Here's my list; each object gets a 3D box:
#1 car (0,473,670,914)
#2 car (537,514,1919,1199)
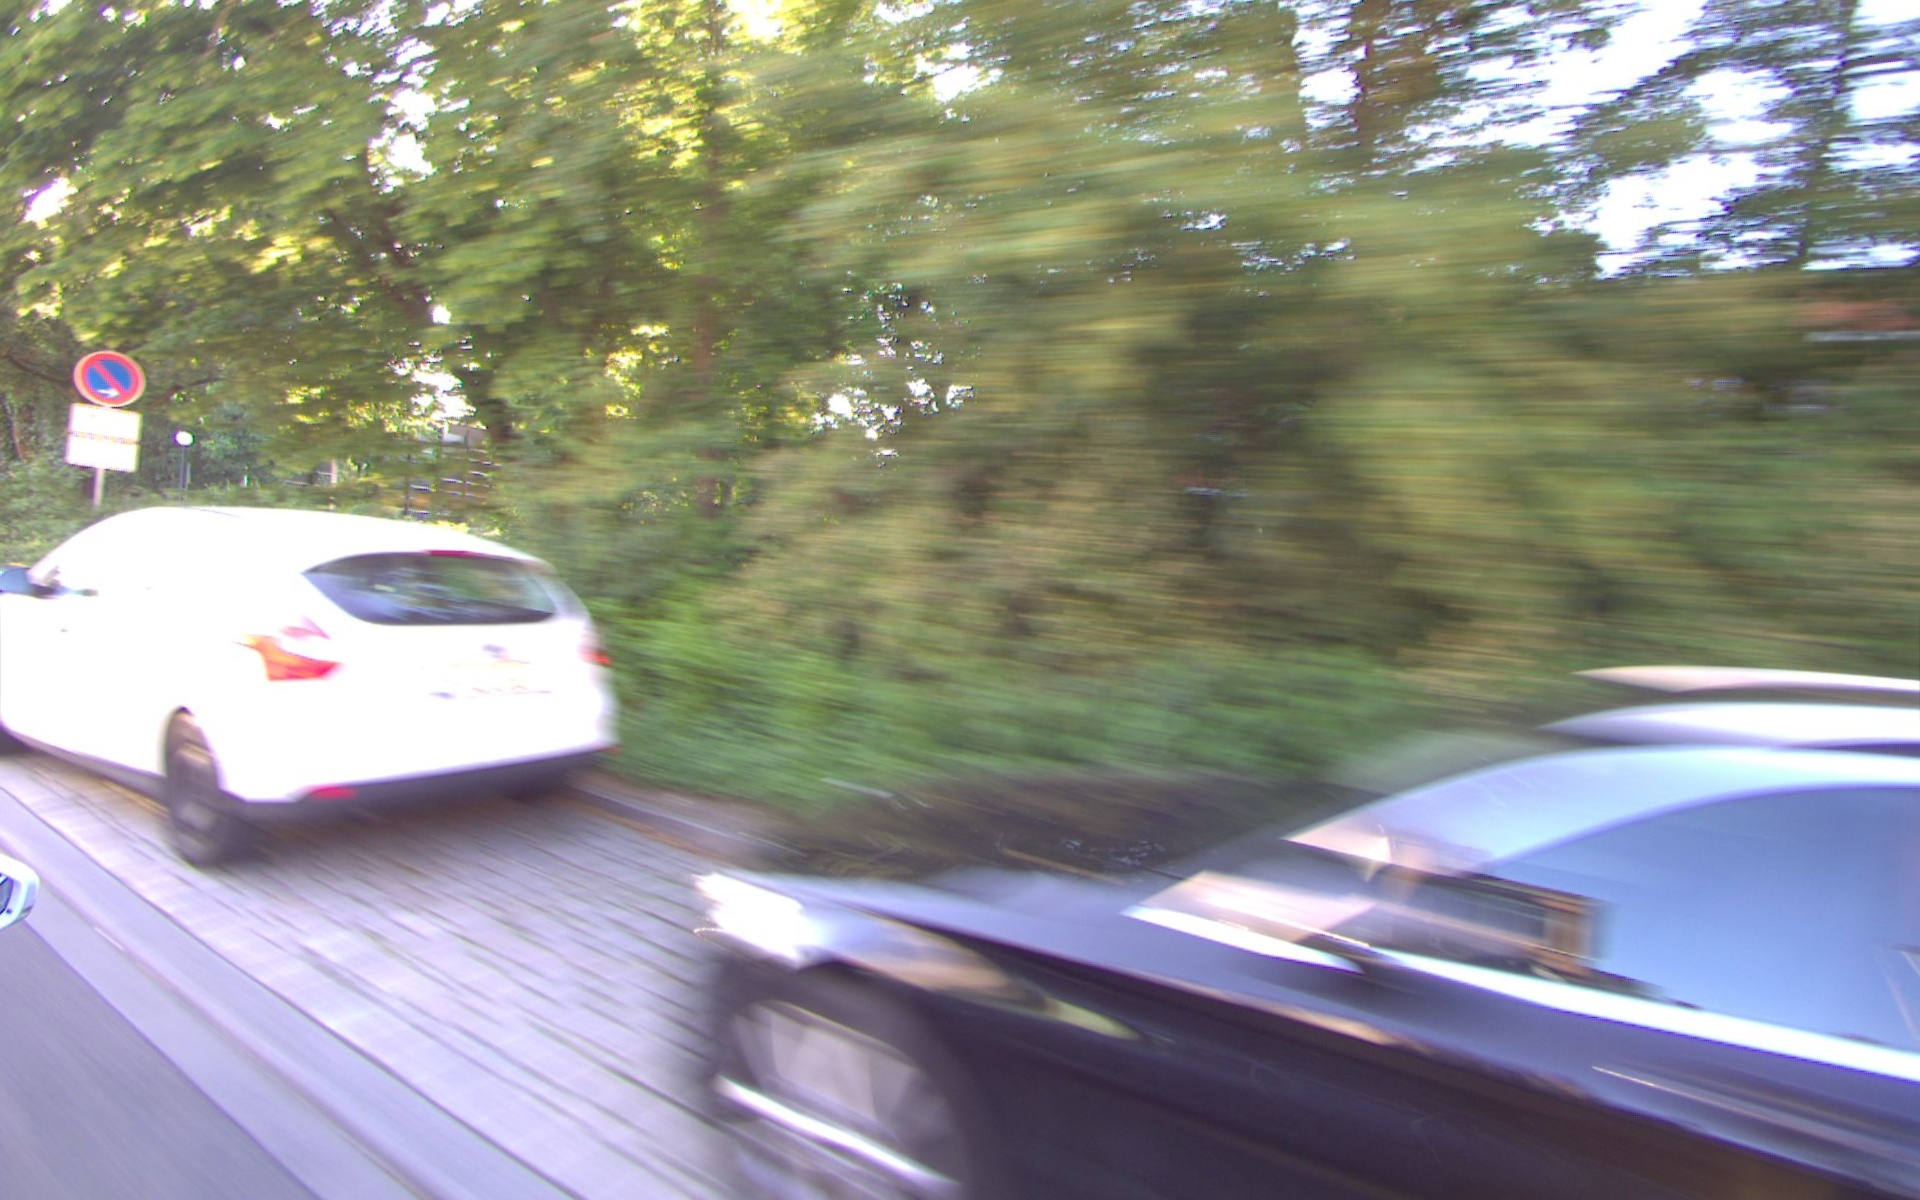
[{"bbox_3d":[-3.725,0.232,5.442,4.107,1.506,1.749,6,1,31],"label":"car"},{"bbox_3d":[1.363,0.794,2.077,4.433,1.506,1.749,6,1,30],"label":"car"}]
